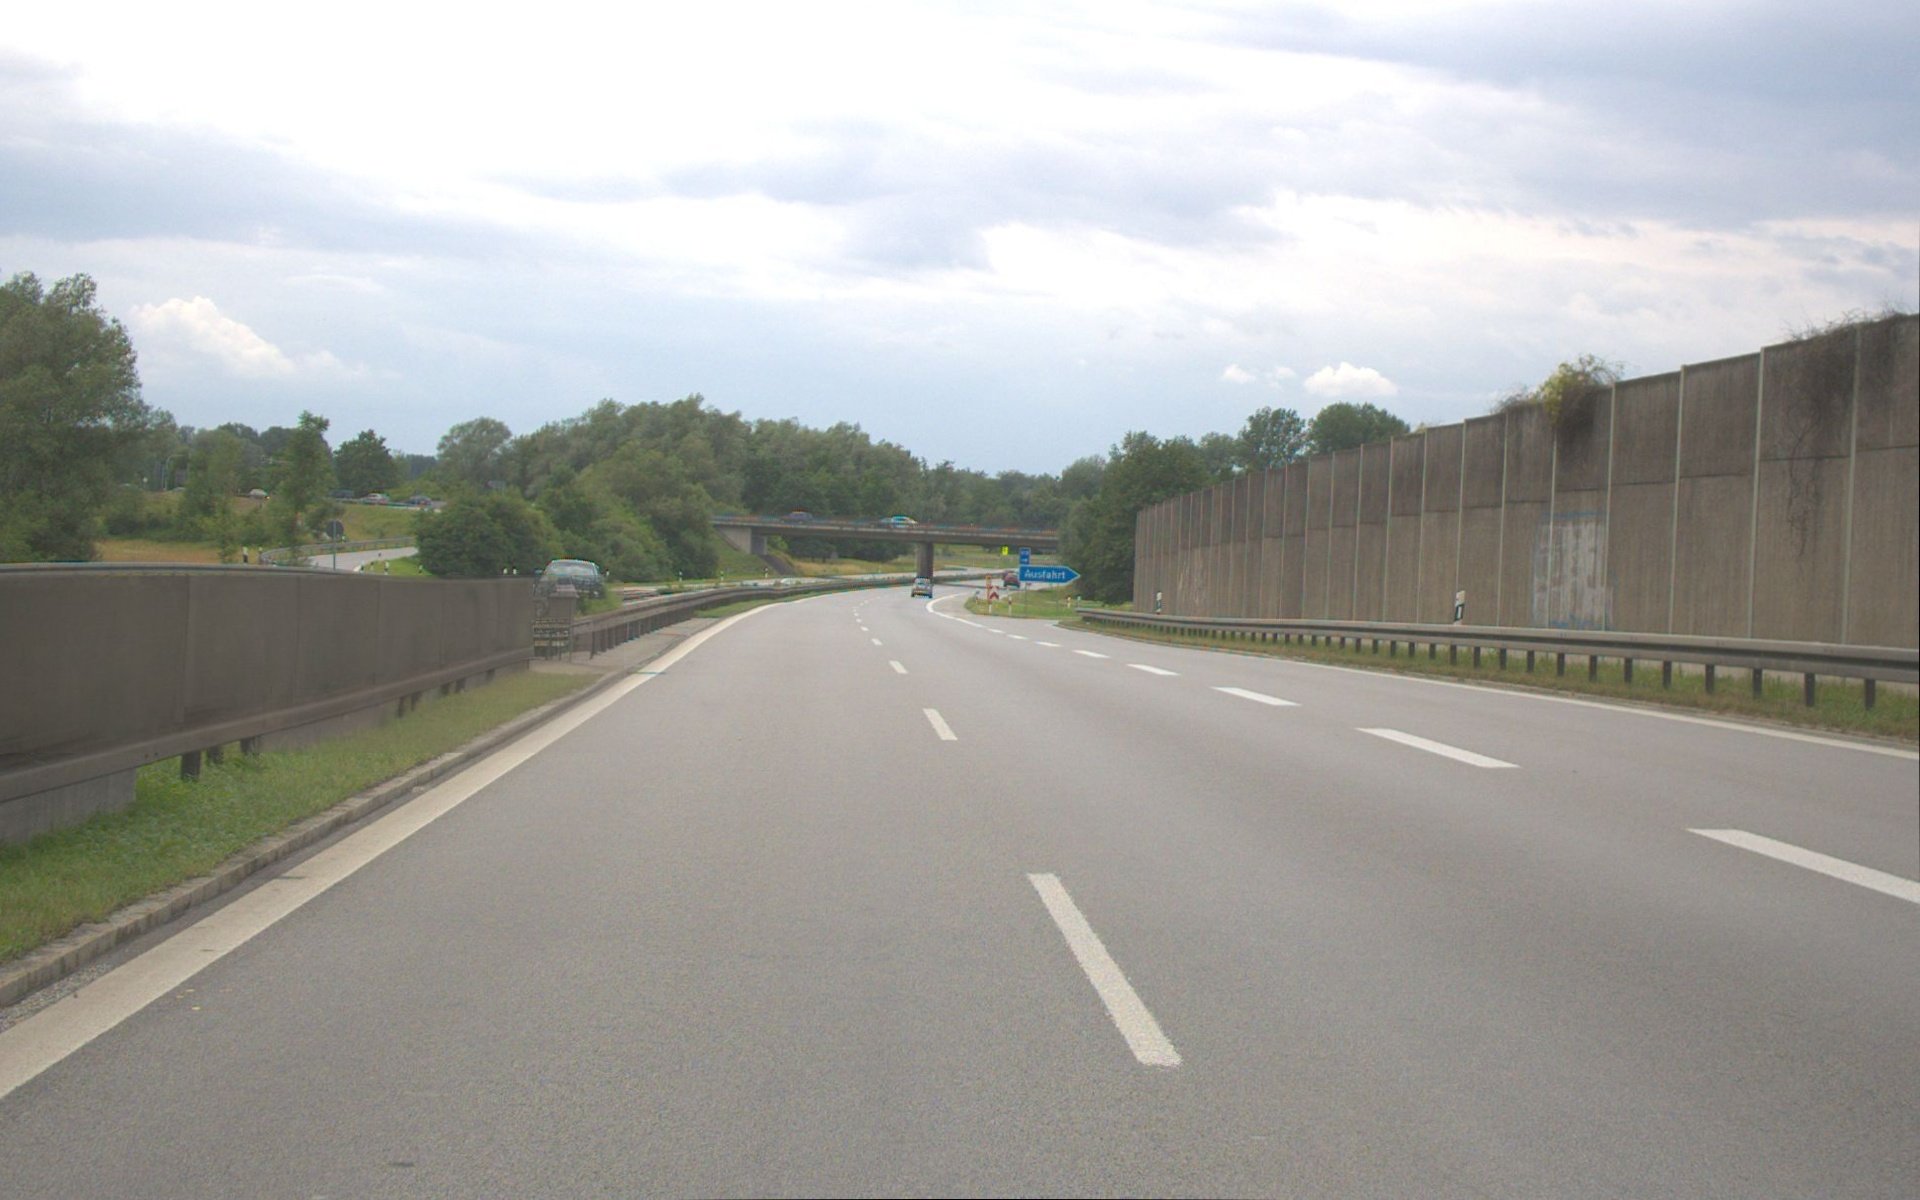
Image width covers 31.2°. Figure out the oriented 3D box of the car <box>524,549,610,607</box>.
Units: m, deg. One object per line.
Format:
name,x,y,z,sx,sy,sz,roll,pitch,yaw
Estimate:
car,-11.565,-0.681,101.472,1.993,1.609,5.029,2,1,-1
